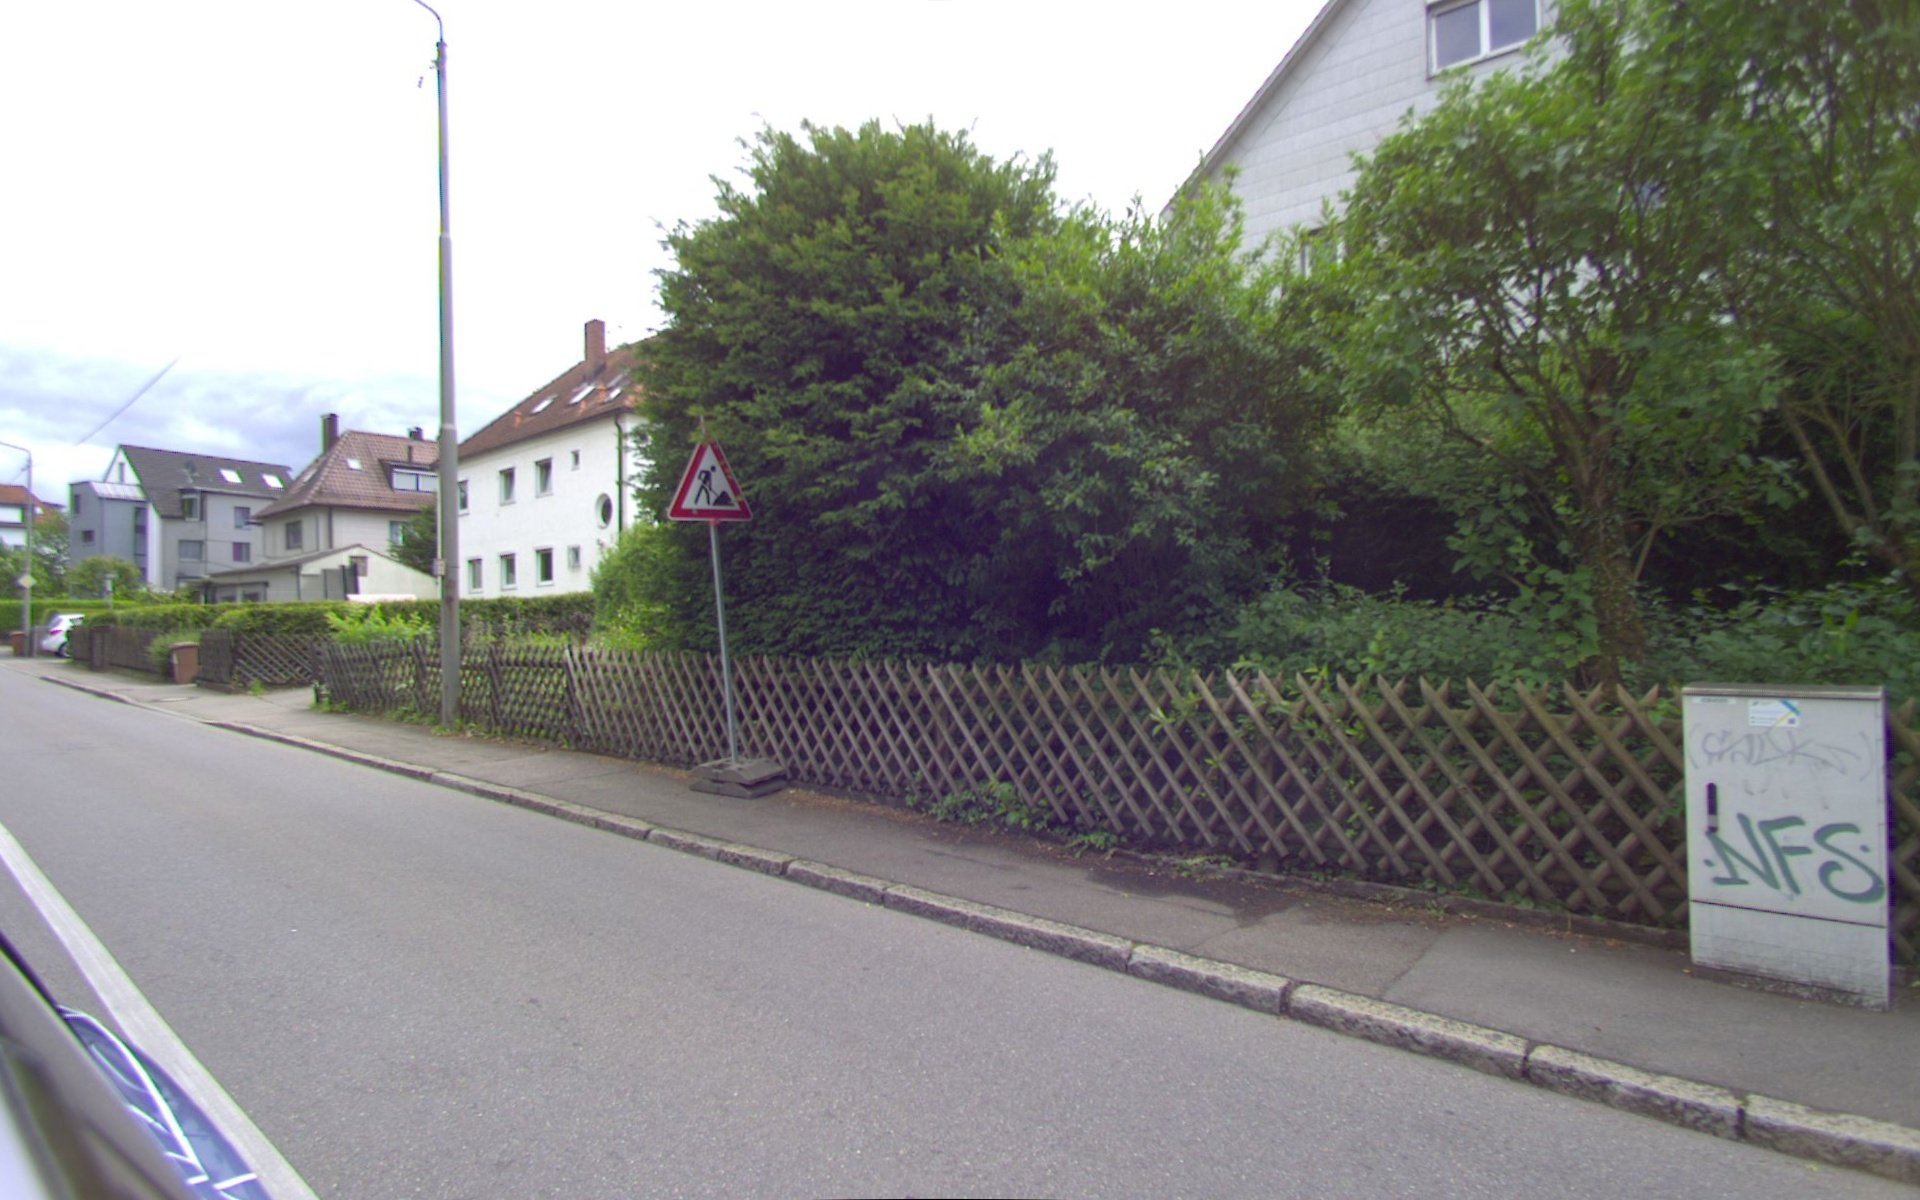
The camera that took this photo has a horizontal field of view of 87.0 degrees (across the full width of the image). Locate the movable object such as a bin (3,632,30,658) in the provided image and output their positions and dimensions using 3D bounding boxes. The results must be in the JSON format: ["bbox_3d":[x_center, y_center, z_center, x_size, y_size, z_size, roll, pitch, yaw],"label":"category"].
[{"bbox_3d":[-36.028,1.699,38.639,0.571,0.961,0.681,-1,-1,39],"label":"movable object such as a bin"}]

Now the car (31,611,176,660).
[{"bbox_3d":[-32.323,1.297,38.288,1.718,1.606,3.946,-1,1,41],"label":"car"}]

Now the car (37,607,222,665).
[{"bbox_3d":[-28.442,1.181,34.805,1.881,1.682,4.624,-1,1,40],"label":"car"}]

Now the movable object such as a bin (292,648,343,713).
[{"bbox_3d":[-9.934,1.233,15.652,0.537,0.945,0.544,-1,-1,43],"label":"movable object such as a bin"}]

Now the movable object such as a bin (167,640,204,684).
[{"bbox_3d":[-17.024,1.356,22.252,0.625,0.920,0.561,-1,0,-39],"label":"movable object such as a bin"}]
